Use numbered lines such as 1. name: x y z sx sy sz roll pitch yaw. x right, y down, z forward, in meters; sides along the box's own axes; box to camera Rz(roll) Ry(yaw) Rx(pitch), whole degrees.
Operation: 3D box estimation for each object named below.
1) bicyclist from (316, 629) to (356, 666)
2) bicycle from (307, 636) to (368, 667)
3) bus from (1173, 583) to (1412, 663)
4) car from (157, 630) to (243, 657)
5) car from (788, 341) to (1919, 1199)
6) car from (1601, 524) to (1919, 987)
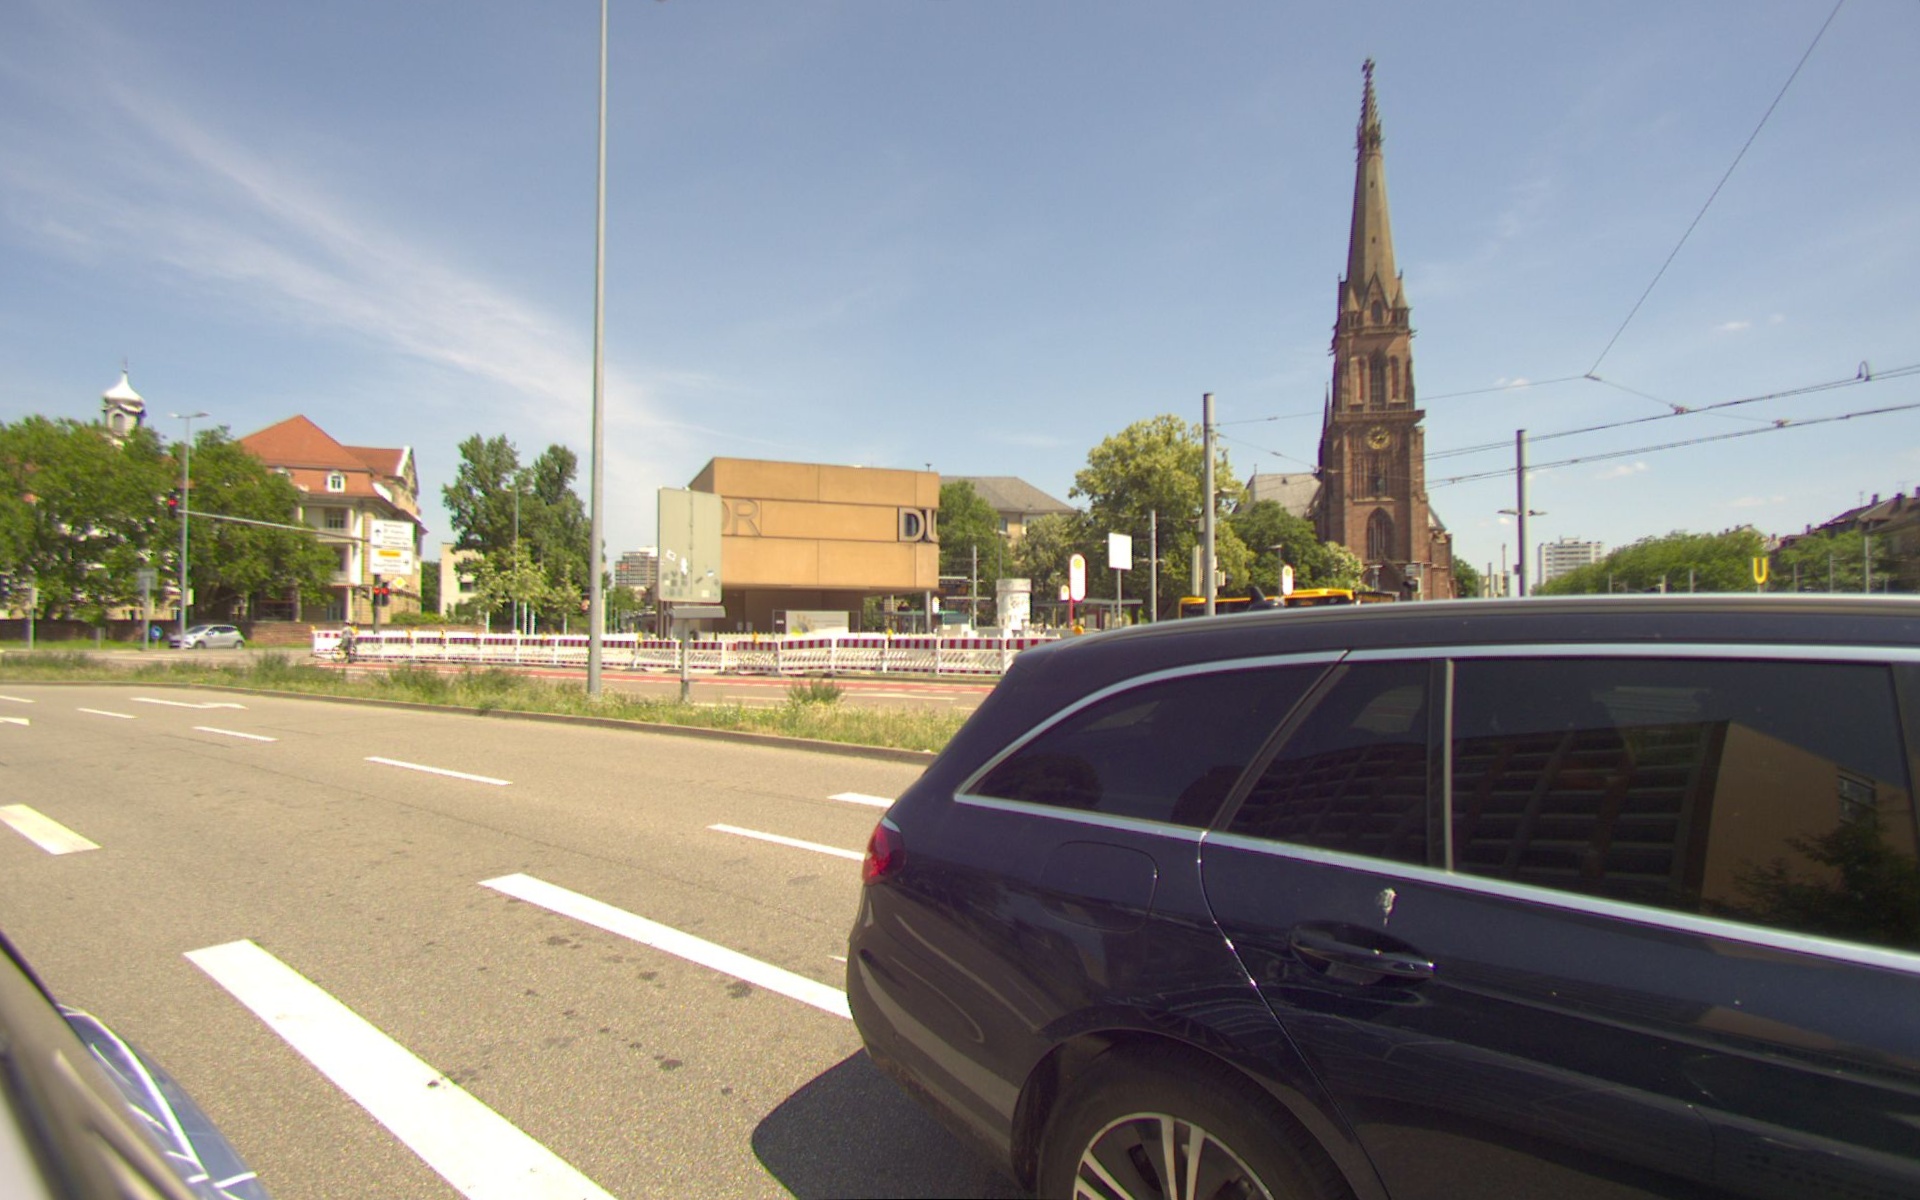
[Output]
1. bicyclist: -23.291 1.766 37.782 1.432 1.366 0.582 -1 0 26
2. bicycle: -23.201 1.917 37.714 2.220 1.080 0.871 -1 0 26
3. bus: 14.162 1.099 45.033 2.807 3.039 12.259 1 -2 -22
4. car: -42.409 2.421 56.557 1.772 1.475 3.627 -1 -2 10
5. car: 1.981 0.535 1.411 4.803 1.653 1.778 -2 -1 42
6. car: 4.573 0.530 3.499 3.736 1.588 1.725 -2 -3 42
